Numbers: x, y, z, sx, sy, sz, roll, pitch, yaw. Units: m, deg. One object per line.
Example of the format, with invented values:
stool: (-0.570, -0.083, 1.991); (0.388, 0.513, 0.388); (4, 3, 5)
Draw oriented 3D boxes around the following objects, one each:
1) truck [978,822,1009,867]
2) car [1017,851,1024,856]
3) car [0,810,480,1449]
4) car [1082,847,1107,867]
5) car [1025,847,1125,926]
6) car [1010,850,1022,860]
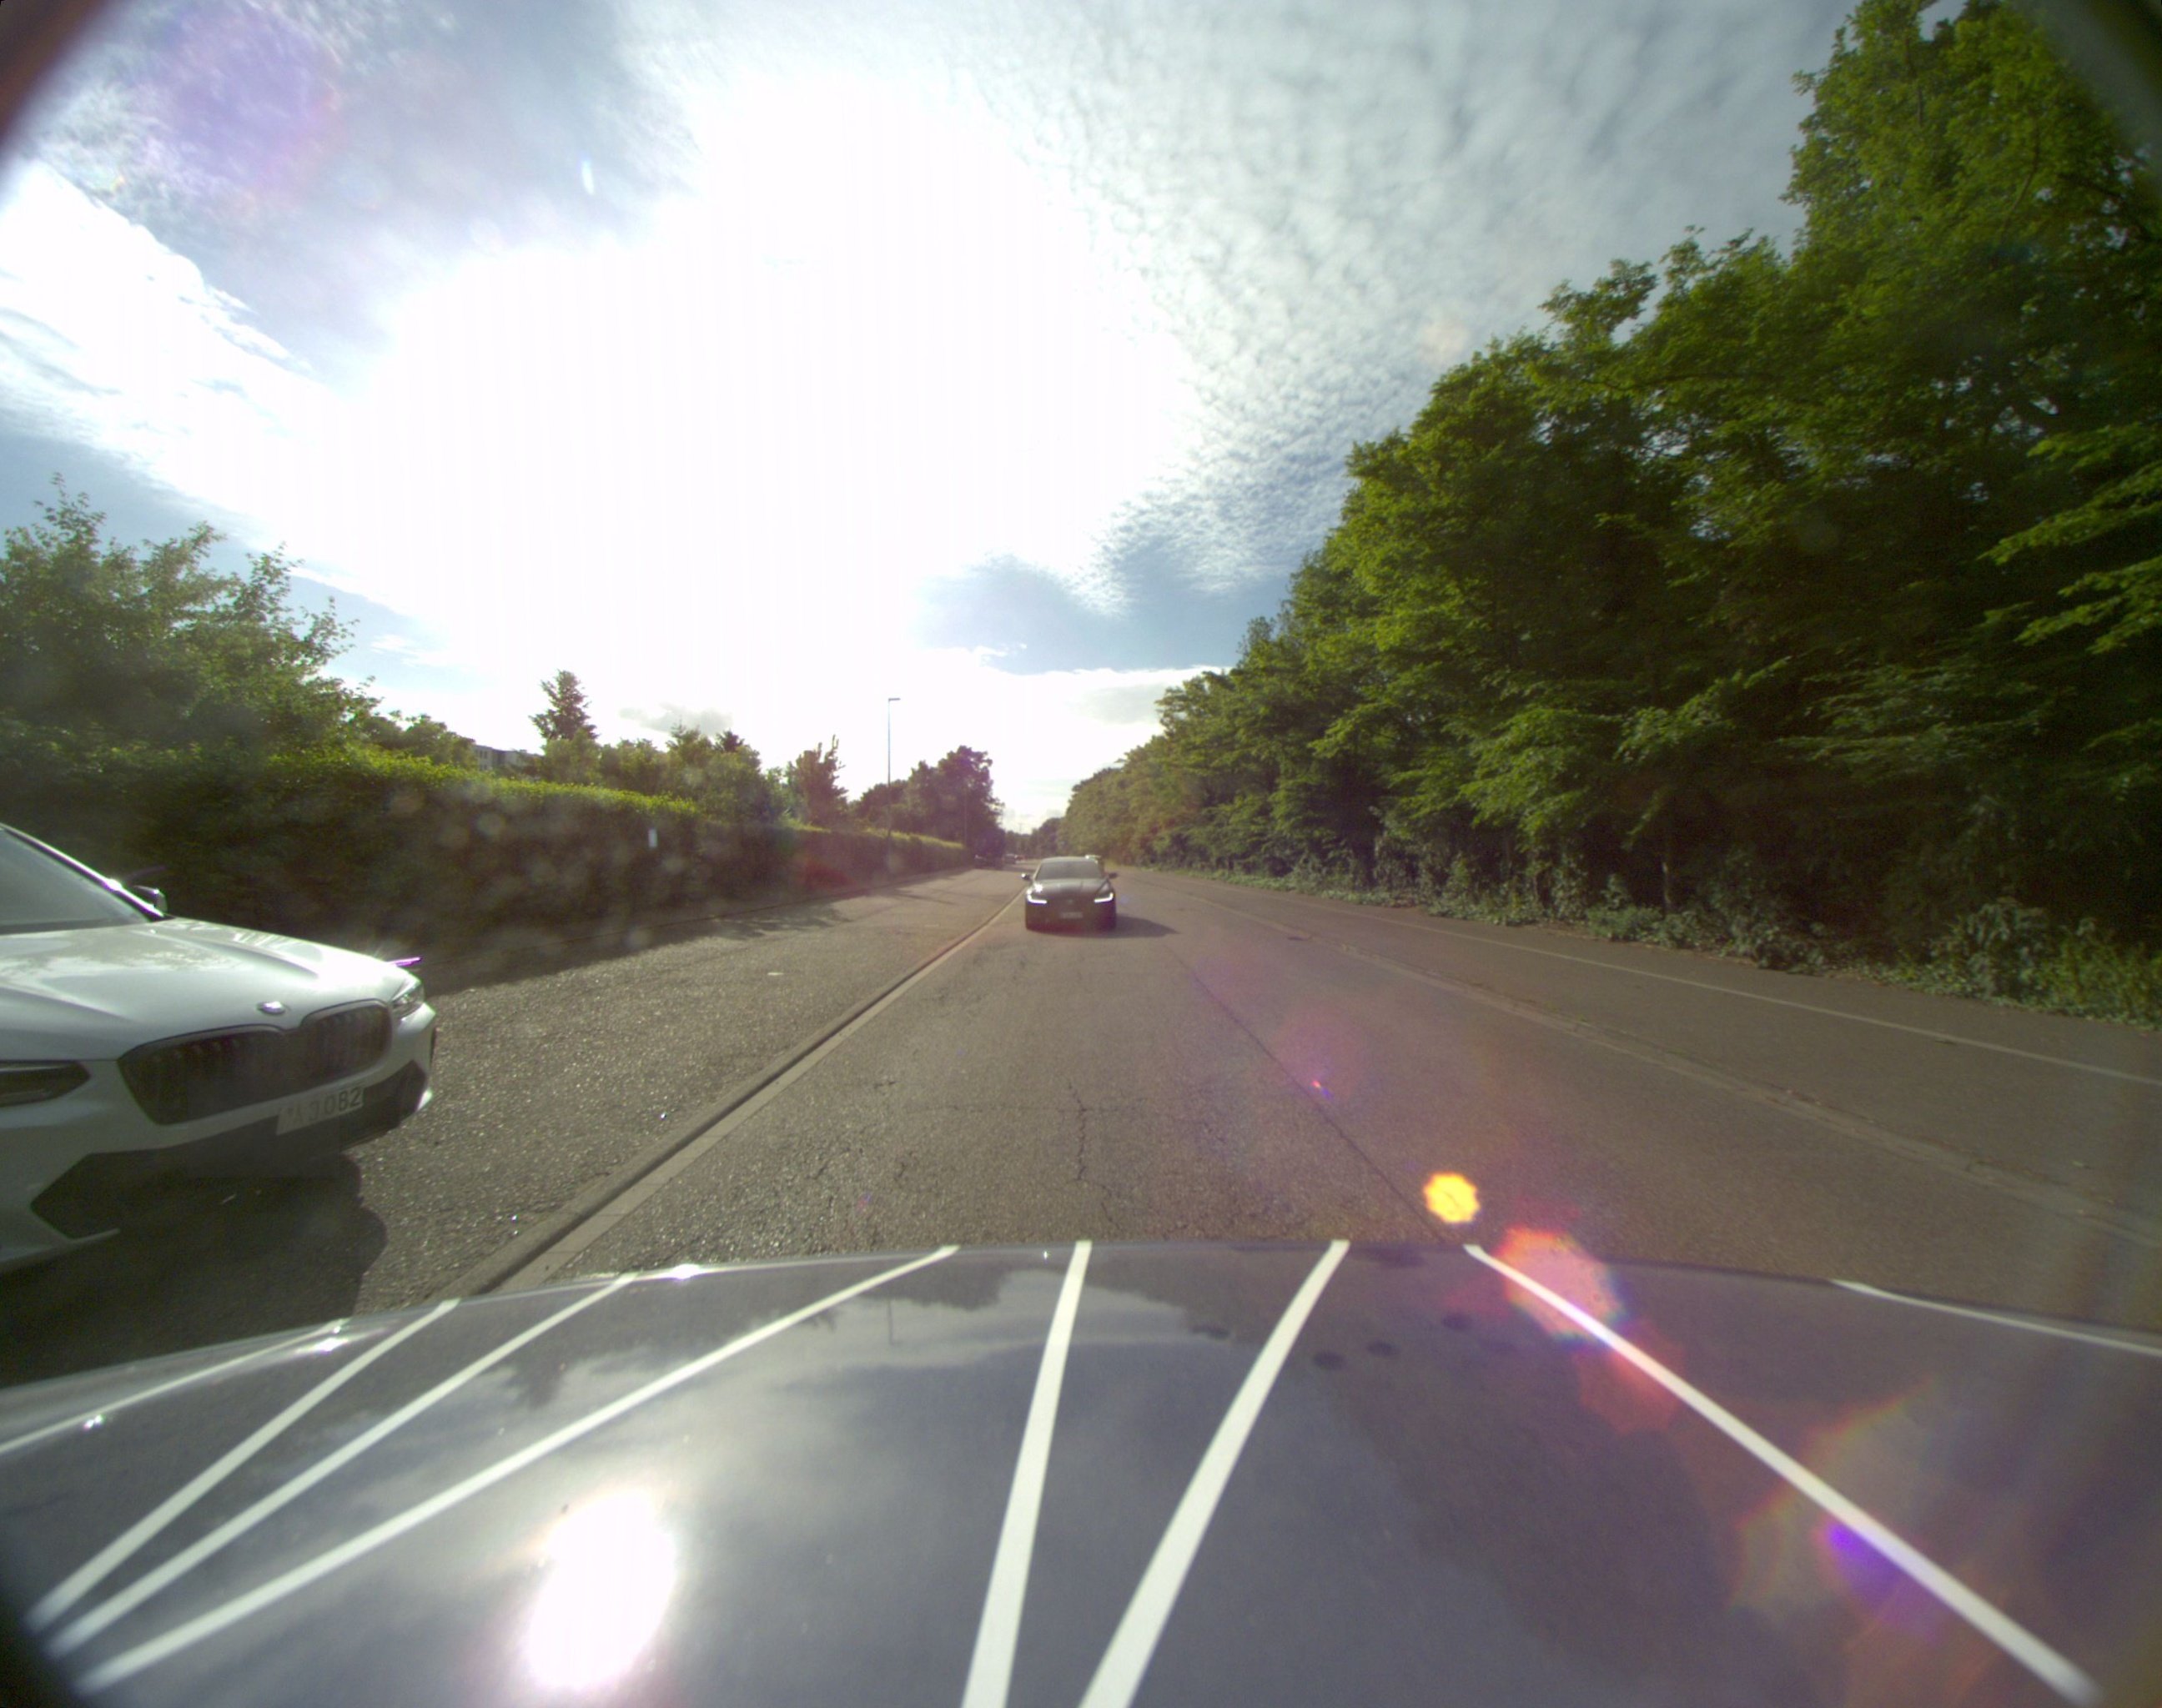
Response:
truck: (-8.347, -0.906, 72.608); (2.603, 3.935, 6.279); (4, 0, -6)
car: (-16.054, -0.112, 201.597); (1.752, 1.380, 3.859); (2, 0, -6)
car: (-5.181, 0.650, 2.776); (4.598, 1.690, 1.763); (3, 1, 2)
car: (1.097, 0.201, 64.206); (1.807, 1.576, 4.100); (1, 1, -2)
car: (-0.078, 0.610, 17.063); (1.936, 1.501, 4.679); (0, 1, 1)
car: (-10.211, 0.145, 118.950); (1.752, 1.561, 3.859); (2, 0, -6)
